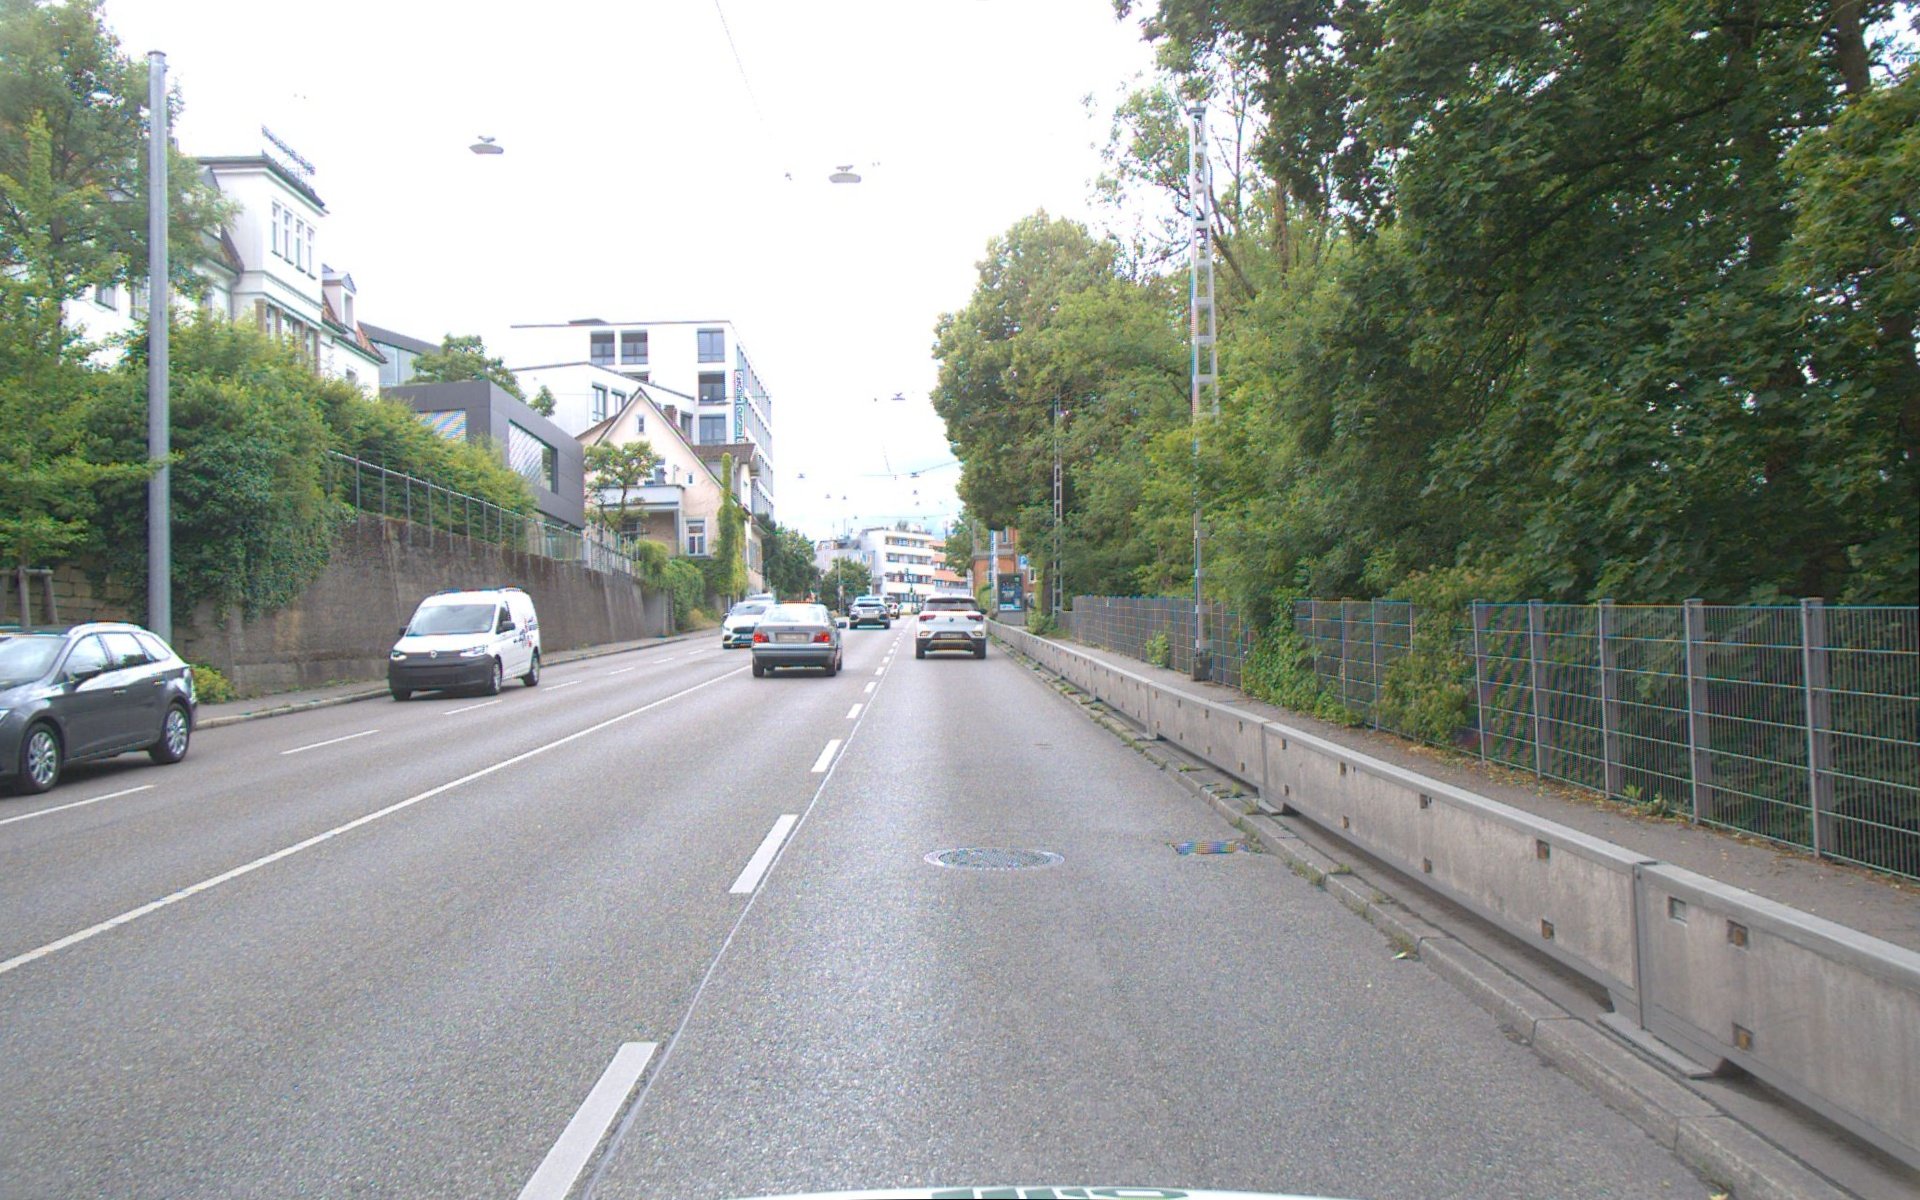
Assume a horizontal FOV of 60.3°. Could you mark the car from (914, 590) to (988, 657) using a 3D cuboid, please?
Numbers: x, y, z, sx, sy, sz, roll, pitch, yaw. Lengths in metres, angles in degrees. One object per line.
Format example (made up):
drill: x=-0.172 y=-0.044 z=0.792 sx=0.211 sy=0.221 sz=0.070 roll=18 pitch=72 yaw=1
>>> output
car: x=-0.262 y=0.567 z=41.817 sx=1.744 sy=1.607 sz=3.998 roll=0 pitch=0 yaw=-2

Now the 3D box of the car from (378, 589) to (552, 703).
car: x=-8.827 y=0.754 z=29.918 sx=1.698 sy=1.819 sz=4.866 roll=-3 pitch=0 yaw=-1

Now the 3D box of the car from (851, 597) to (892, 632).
car: x=-3.953 y=0.628 z=74.355 sx=1.672 sy=1.489 sz=3.999 roll=-1 pitch=0 yaw=-1

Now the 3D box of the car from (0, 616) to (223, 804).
car: x=-8.768 y=0.960 z=15.570 sx=1.698 sy=1.489 sz=4.423 roll=-3 pitch=0 yaw=-1

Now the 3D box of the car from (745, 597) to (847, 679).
car: x=-3.177 y=0.704 z=32.700 sx=1.672 sy=1.489 sz=3.999 roll=-1 pitch=0 yaw=-1

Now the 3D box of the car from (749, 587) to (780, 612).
car: x=-13.892 y=-0.043 z=117.674 sx=1.955 sy=1.731 sz=3.996 roll=-1 pitch=0 yaw=-5

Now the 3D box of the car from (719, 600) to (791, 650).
car: x=-6.488 y=0.767 z=52.776 sx=1.779 sy=1.410 sz=4.461 roll=-3 pitch=0 yaw=-1

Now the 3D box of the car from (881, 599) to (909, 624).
car: x=-4.093 y=0.698 z=105.162 sx=1.672 sy=1.489 sz=3.999 roll=-1 pitch=0 yaw=-1
